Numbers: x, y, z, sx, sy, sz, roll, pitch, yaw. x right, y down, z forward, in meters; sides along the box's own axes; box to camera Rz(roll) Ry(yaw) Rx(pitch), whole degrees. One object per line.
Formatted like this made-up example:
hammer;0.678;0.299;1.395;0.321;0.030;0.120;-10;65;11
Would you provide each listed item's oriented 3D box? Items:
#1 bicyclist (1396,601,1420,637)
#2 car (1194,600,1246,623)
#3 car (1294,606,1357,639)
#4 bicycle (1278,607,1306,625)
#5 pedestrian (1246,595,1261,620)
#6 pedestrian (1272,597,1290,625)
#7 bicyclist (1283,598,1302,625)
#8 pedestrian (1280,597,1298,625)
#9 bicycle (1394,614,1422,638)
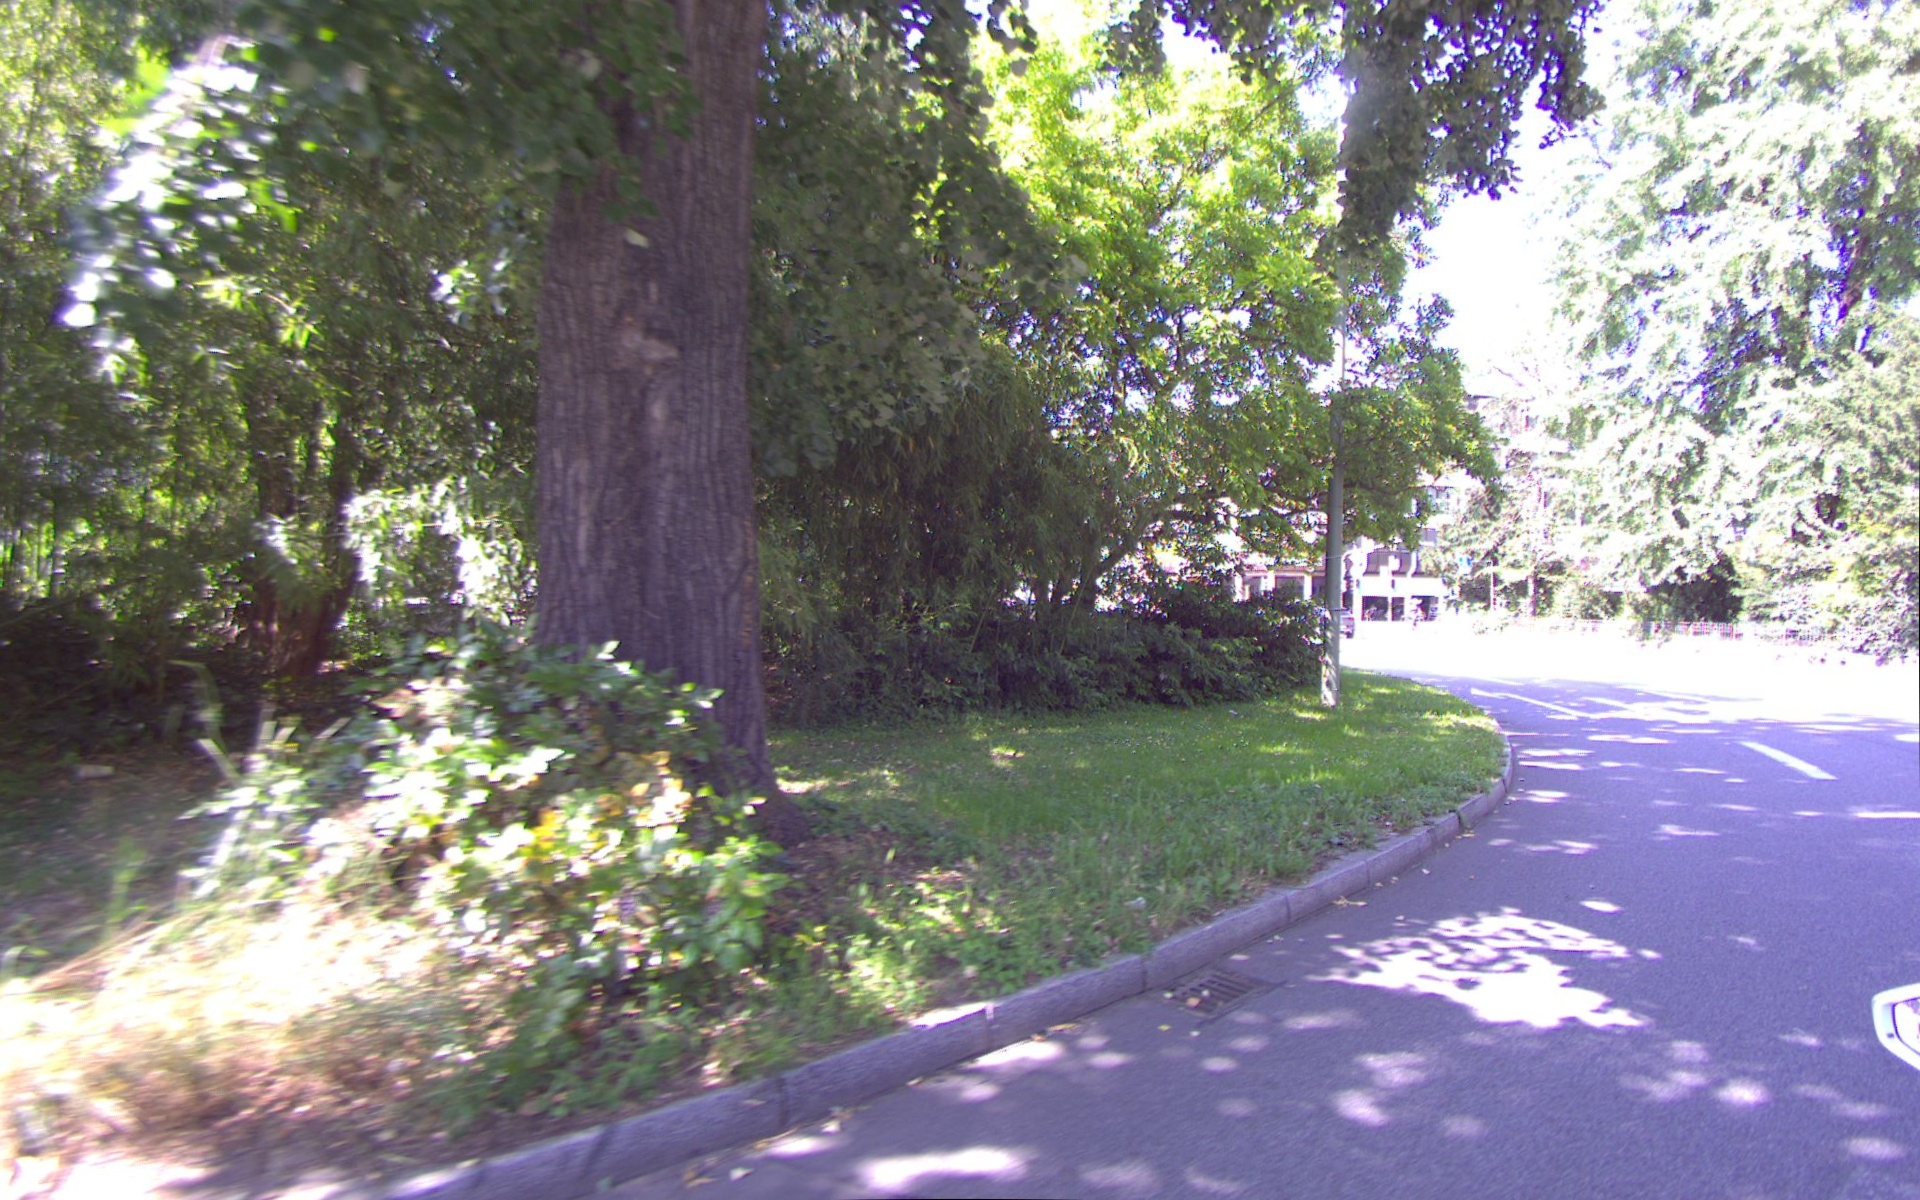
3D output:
bicyclist;23.337;1.001;52.334;0.844;1.820;1.130;1;1;9
car;16.943;0.732;65.551;1.800;1.428;3.785;0;0;-11
car;18.311;1.110;50.517;1.914;1.558;4.083;0;0;4
bicycle;22.076;1.060;66.873;0.717;1.195;2.321;1;0;-11
pedestrian;23.042;0.582;78.860;0.759;1.985;0.828;0;1;-10
pedestrian;21.087;0.706;65.968;0.759;1.837;0.828;0;1;-10
bicyclist;22.096;0.764;66.764;0.739;1.771;1.127;1;1;-11
pedestrian;21.276;0.709;64.953;0.759;1.837;0.828;0;1;-10
bicycle;23.319;1.332;52.292;0.839;1.176;2.084;1;1;10
